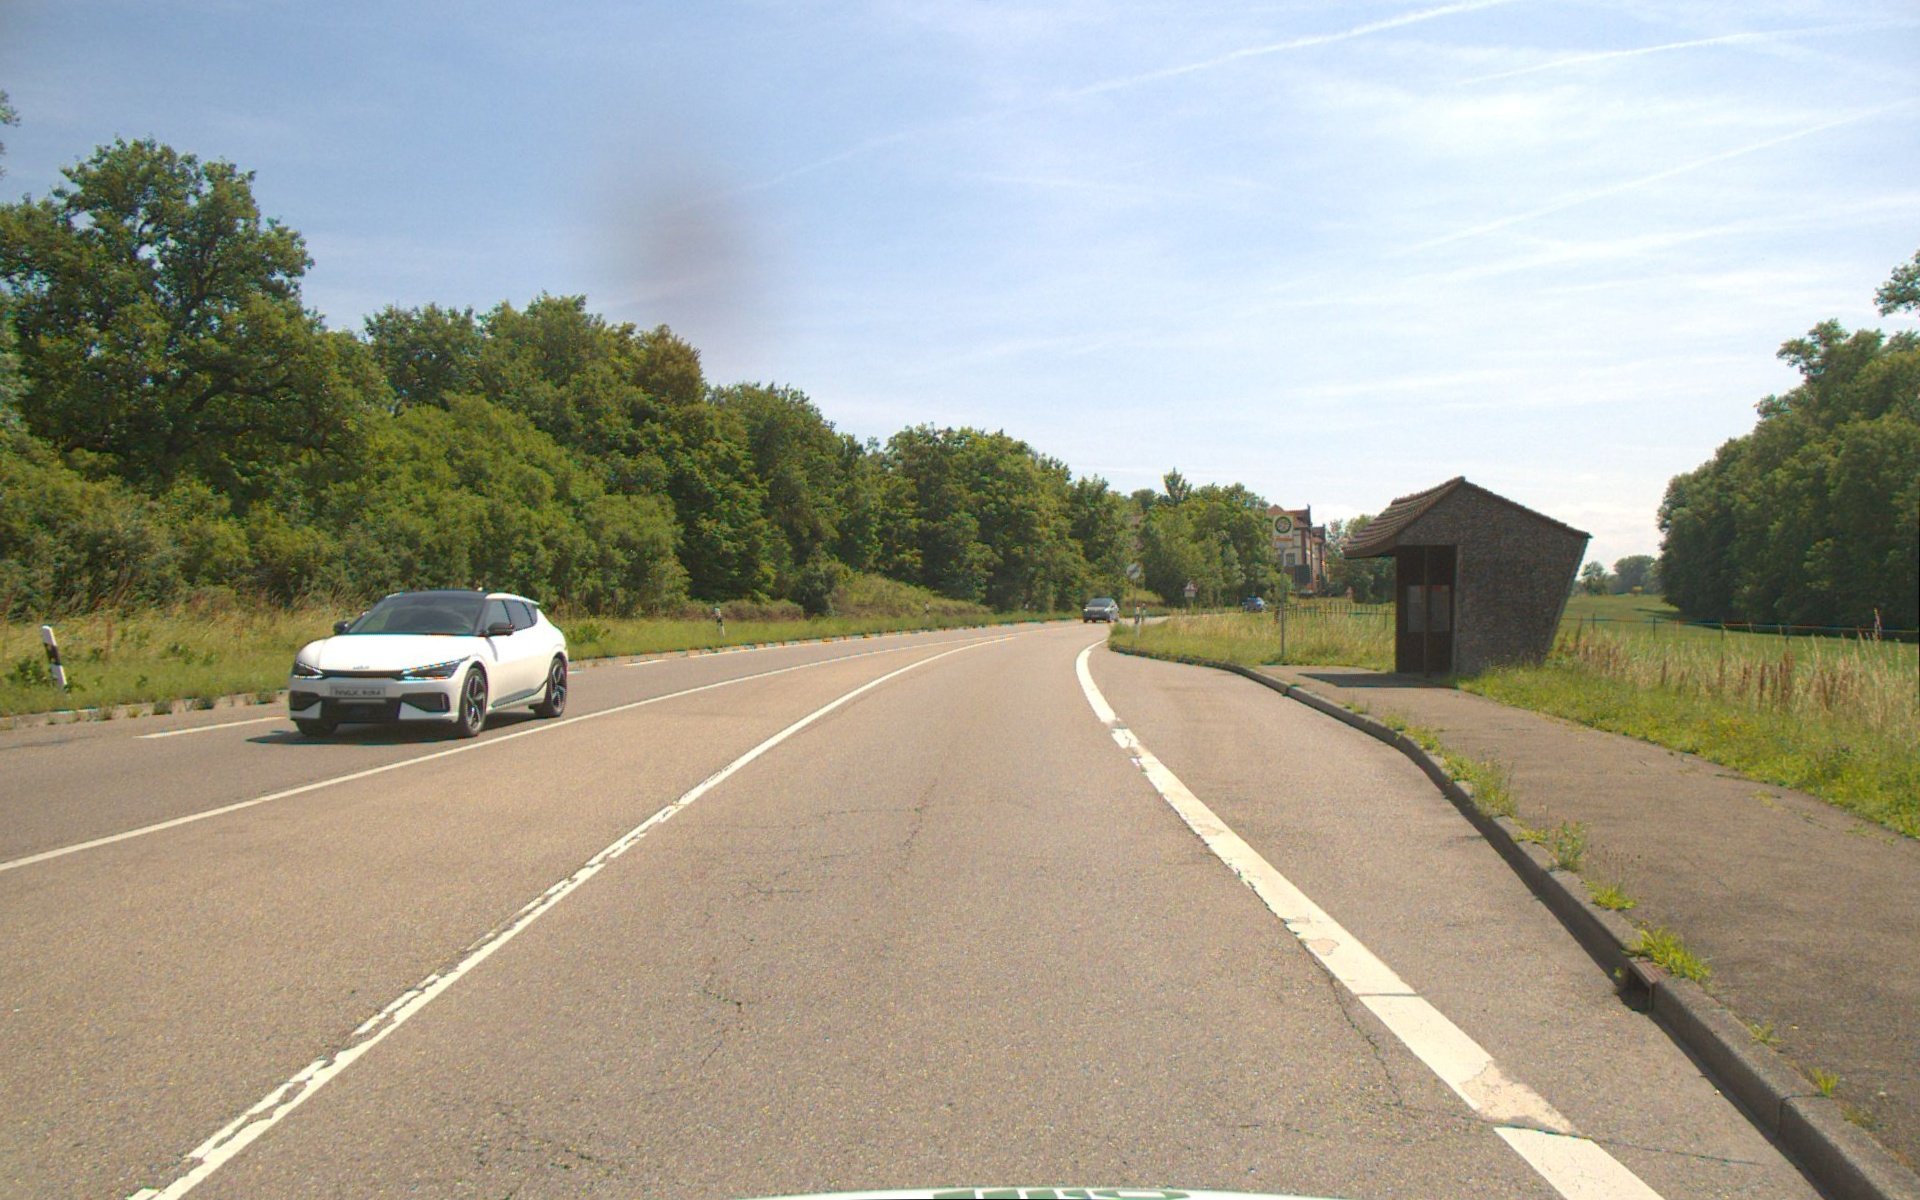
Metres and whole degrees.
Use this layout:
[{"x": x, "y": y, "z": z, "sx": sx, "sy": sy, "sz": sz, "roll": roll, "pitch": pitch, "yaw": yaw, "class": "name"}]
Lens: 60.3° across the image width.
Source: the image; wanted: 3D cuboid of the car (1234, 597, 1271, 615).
[{"x": 26.557, "y": 0.562, "z": 150.101, "sx": 1.957, "sy": 1.601, "sz": 3.991, "roll": 0, "pitch": 0, "yaw": 31, "class": "car"}]

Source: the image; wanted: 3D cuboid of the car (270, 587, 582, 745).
[{"x": -5.929, "y": 0.672, "z": 19.035, "sx": 1.897, "sy": 1.575, "sz": 4.629, "roll": 1, "pitch": 0, "yaw": 2, "class": "car"}]

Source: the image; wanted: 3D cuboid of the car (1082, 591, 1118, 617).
[{"x": 8.943, "y": 0.249, "z": 105.685, "sx": 1.717, "sy": 1.561, "sz": 4.232, "roll": 1, "pitch": 0, "yaw": 13, "class": "car"}]
